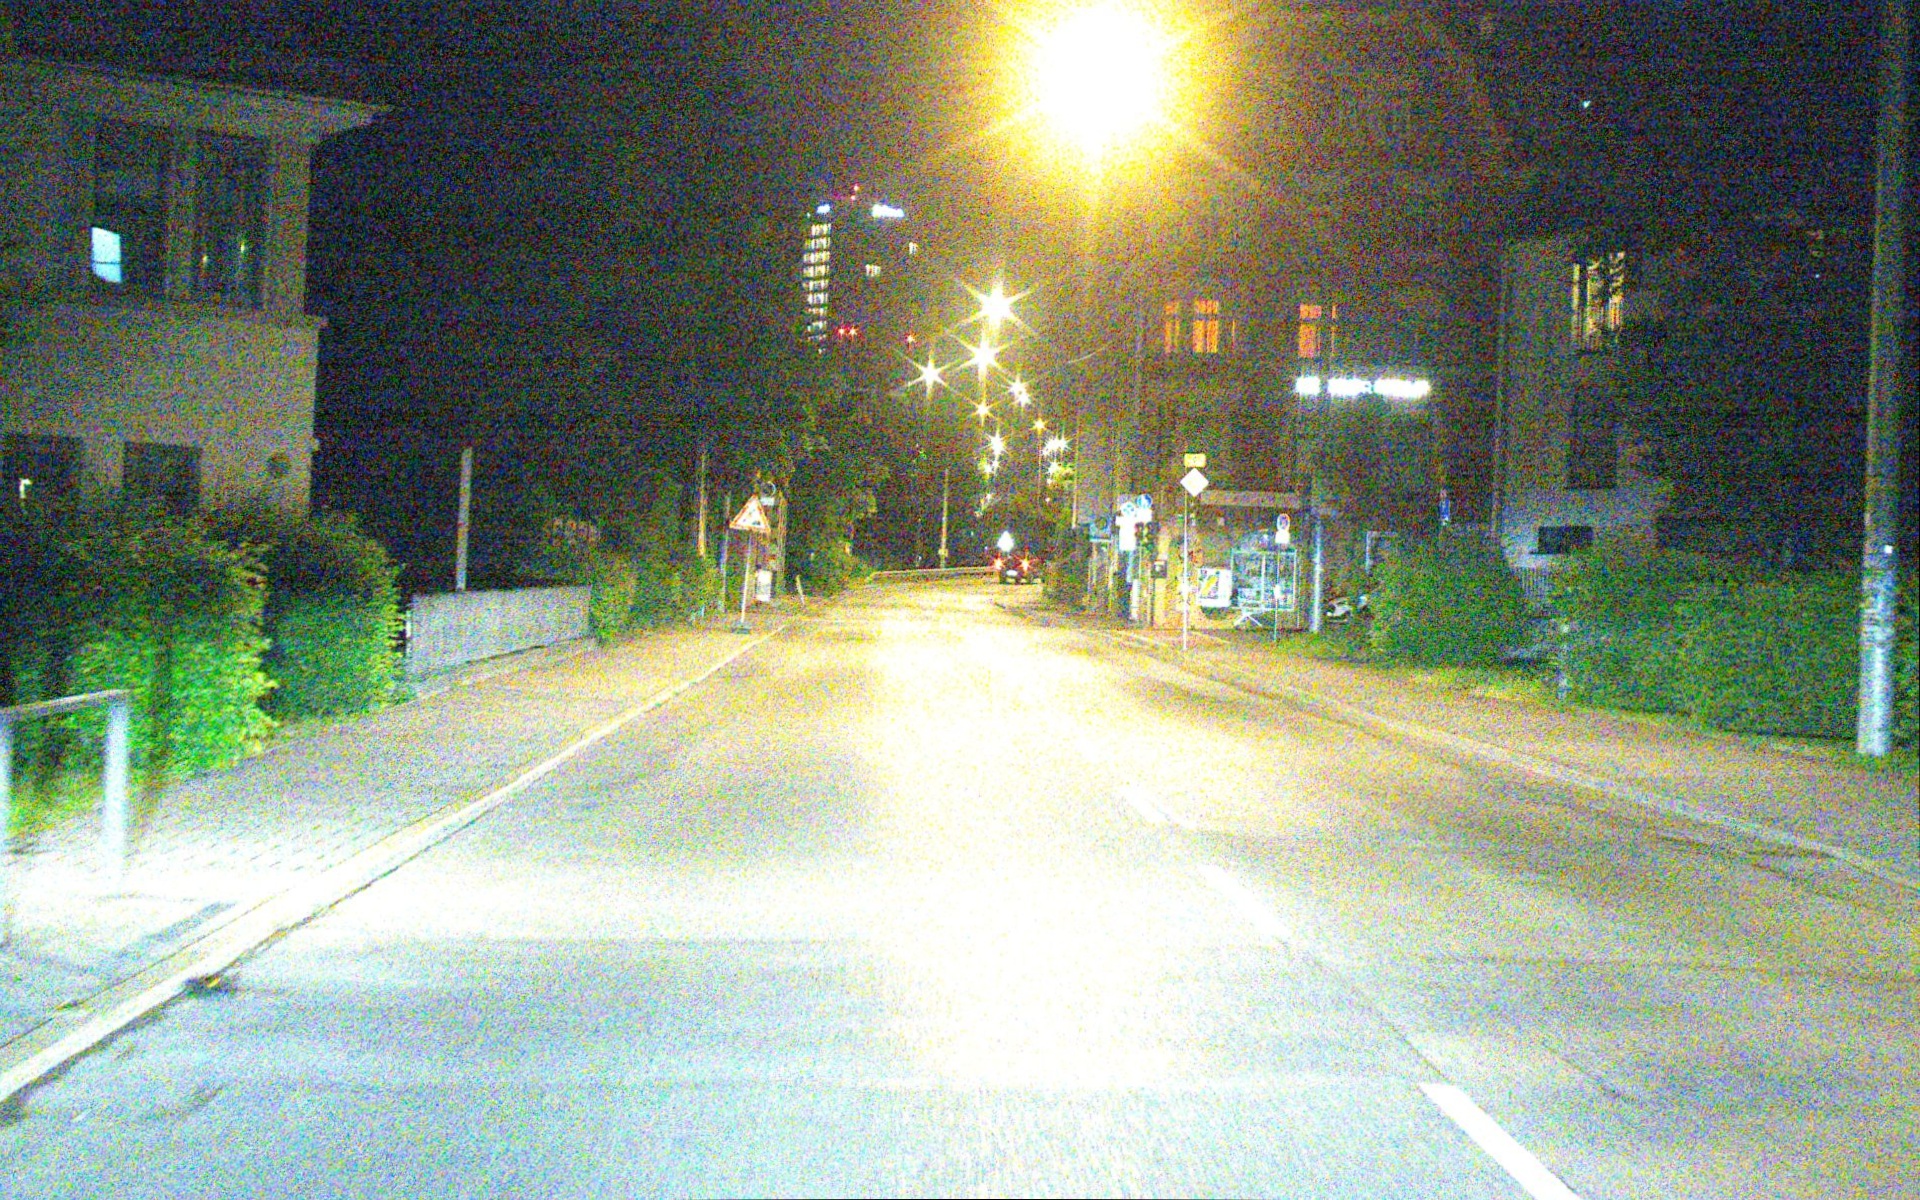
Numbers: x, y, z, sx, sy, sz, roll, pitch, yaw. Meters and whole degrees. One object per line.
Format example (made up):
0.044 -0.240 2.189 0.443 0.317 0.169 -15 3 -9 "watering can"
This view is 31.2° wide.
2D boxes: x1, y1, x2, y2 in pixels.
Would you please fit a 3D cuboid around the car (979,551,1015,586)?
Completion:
2.135 -1.806 198.081 1.924 1.848 4.000 1 -1 -1 "car"

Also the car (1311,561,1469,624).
11.303 -0.212 90.488 3.837 1.539 1.809 1 0 -4 "car"
